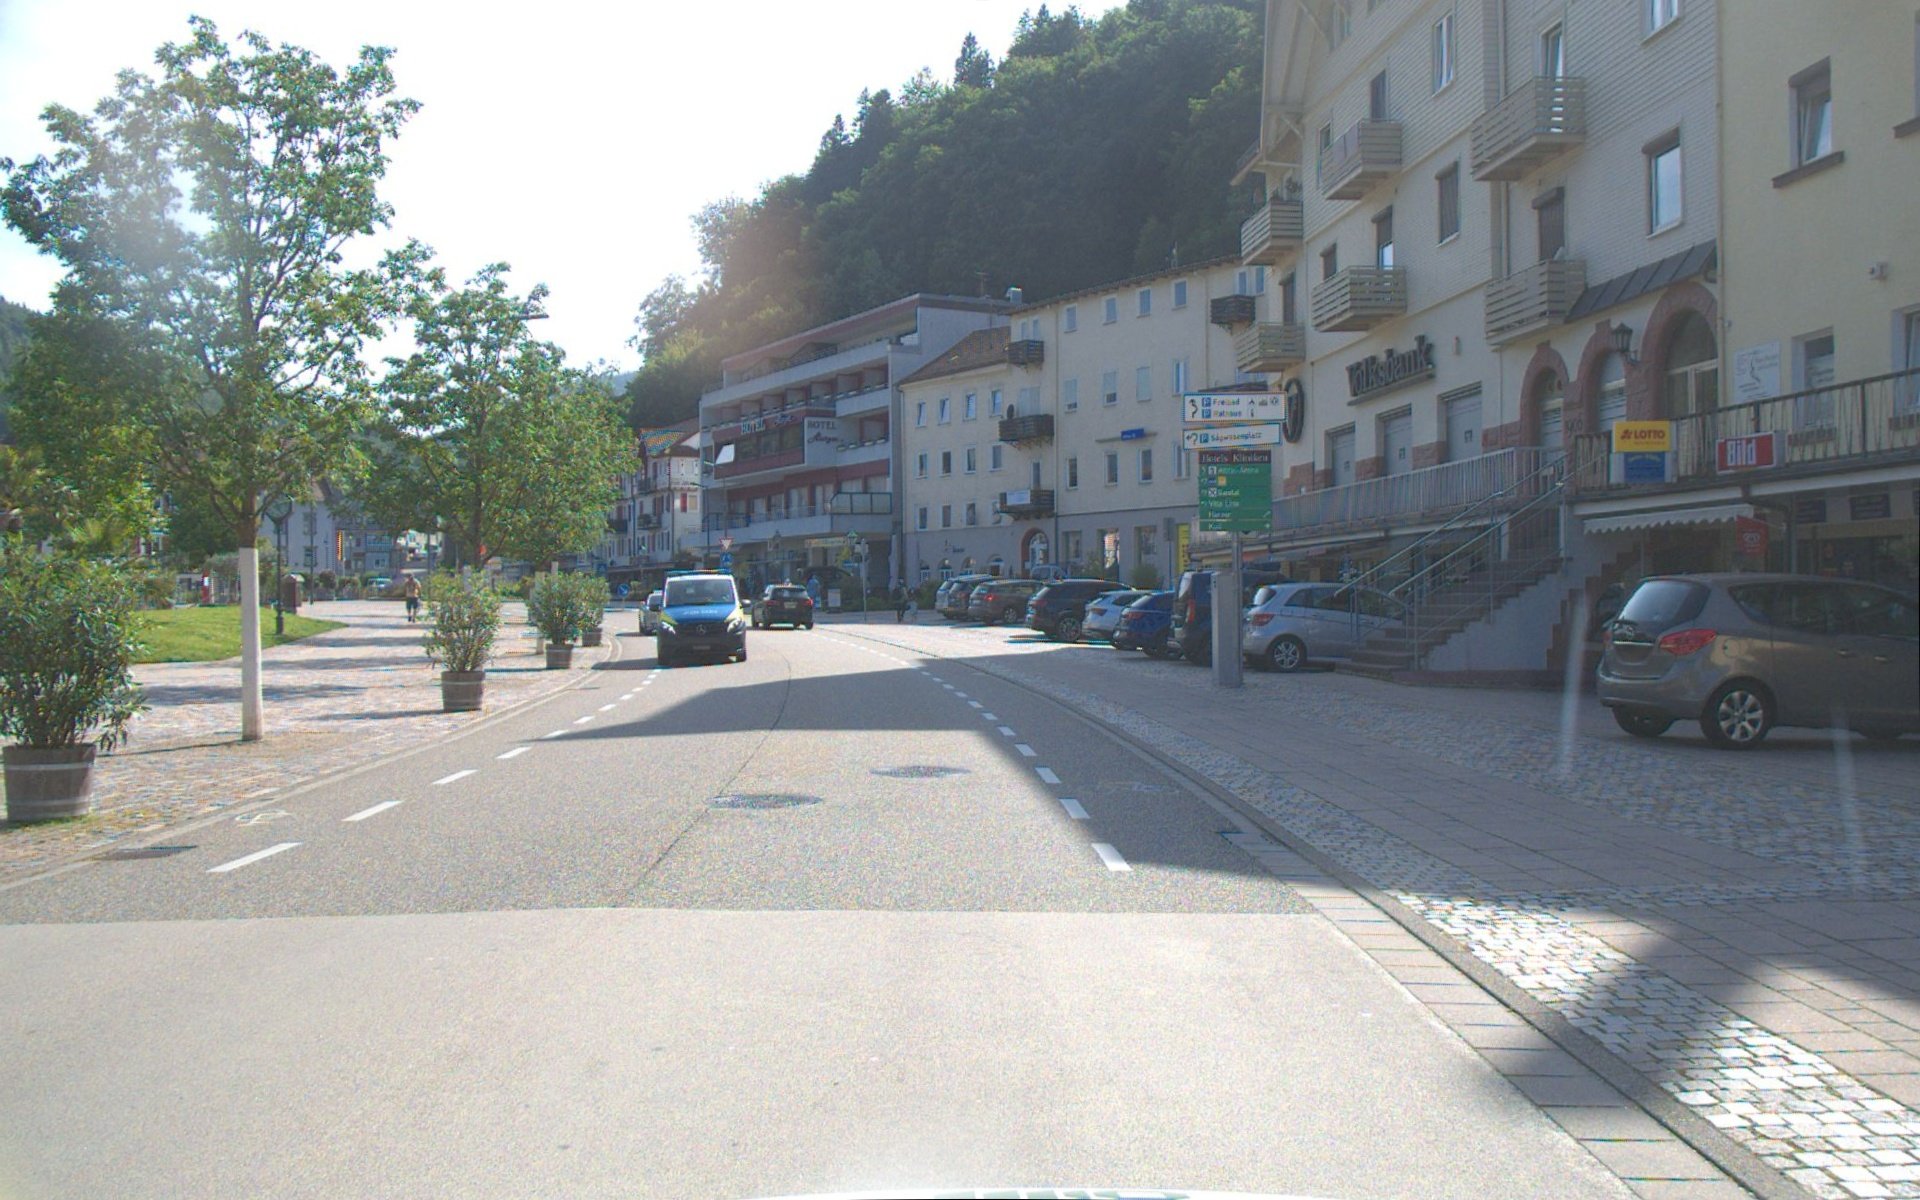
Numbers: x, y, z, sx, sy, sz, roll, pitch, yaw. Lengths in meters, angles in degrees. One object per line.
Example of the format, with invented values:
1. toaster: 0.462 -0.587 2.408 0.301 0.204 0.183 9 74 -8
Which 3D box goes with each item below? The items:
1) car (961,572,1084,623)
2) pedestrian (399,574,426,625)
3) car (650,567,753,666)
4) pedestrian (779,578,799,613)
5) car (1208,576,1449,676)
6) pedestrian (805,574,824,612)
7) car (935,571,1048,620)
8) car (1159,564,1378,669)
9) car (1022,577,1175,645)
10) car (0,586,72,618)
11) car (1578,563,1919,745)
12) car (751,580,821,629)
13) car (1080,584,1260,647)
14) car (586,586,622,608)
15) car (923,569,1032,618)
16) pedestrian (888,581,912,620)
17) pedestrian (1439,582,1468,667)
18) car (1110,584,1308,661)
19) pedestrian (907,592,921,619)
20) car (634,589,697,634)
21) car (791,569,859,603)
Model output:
1. car: 2.210 -0.122 58.234 3.959 1.542 1.759 -4 2 -25
2. pedestrian: -20.335 -0.020 61.398 0.856 1.847 0.685 0 0 -26
3. car: -5.689 0.343 36.889 1.818 1.987 5.012 -2 0 -5
4. pedestrian: -7.929 -0.199 76.769 0.748 1.621 0.622 0 0 -27
5. car: 6.537 0.449 29.571 3.833 1.617 1.773 2 0 -4
6. pedestrian: -6.730 -0.341 76.713 0.661 1.759 0.701 0 0 -27
7. car: 1.185 -0.188 61.623 3.813 1.576 1.759 -4 2 -25
8. car: 5.978 0.323 32.321 3.833 1.836 1.856 2 -1 -4
9. car: 3.860 0.300 46.346 4.004 1.695 1.771 2 0 -4
10. car: -50.011 0.090 88.503 4.143 1.644 1.666 0 0 -40
11. car: 8.133 0.509 15.811 3.786 1.582 1.758 2 0 -7
12. car: -6.282 0.137 59.293 1.701 1.602 3.732 0 2 -19
13. car: 5.237 0.398 41.549 4.269 1.486 1.772 1 -1 -2
14. car: -27.154 -0.207 125.964 1.657 1.649 3.962 0 0 -28
15. car: 0.679 -0.291 64.073 3.813 1.640 1.759 -4 2 -25
16. pedestrian: -2.314 0.033 63.820 0.725 1.467 0.628 -3 1 -23
17. pedestrian: 10.051 0.494 33.703 0.403 1.687 0.435 -3 0 3
18. car: 5.227 0.466 34.953 3.832 1.486 1.734 2 0 -4
19. pedestrian: -1.773 0.219 63.942 0.409 1.019 0.529 -3 1 -11
20. car: -9.902 0.378 55.450 1.601 1.394 4.045 -3 0 -16
21. car: -6.889 -0.736 84.340 3.123 1.692 1.582 0 0 -25
